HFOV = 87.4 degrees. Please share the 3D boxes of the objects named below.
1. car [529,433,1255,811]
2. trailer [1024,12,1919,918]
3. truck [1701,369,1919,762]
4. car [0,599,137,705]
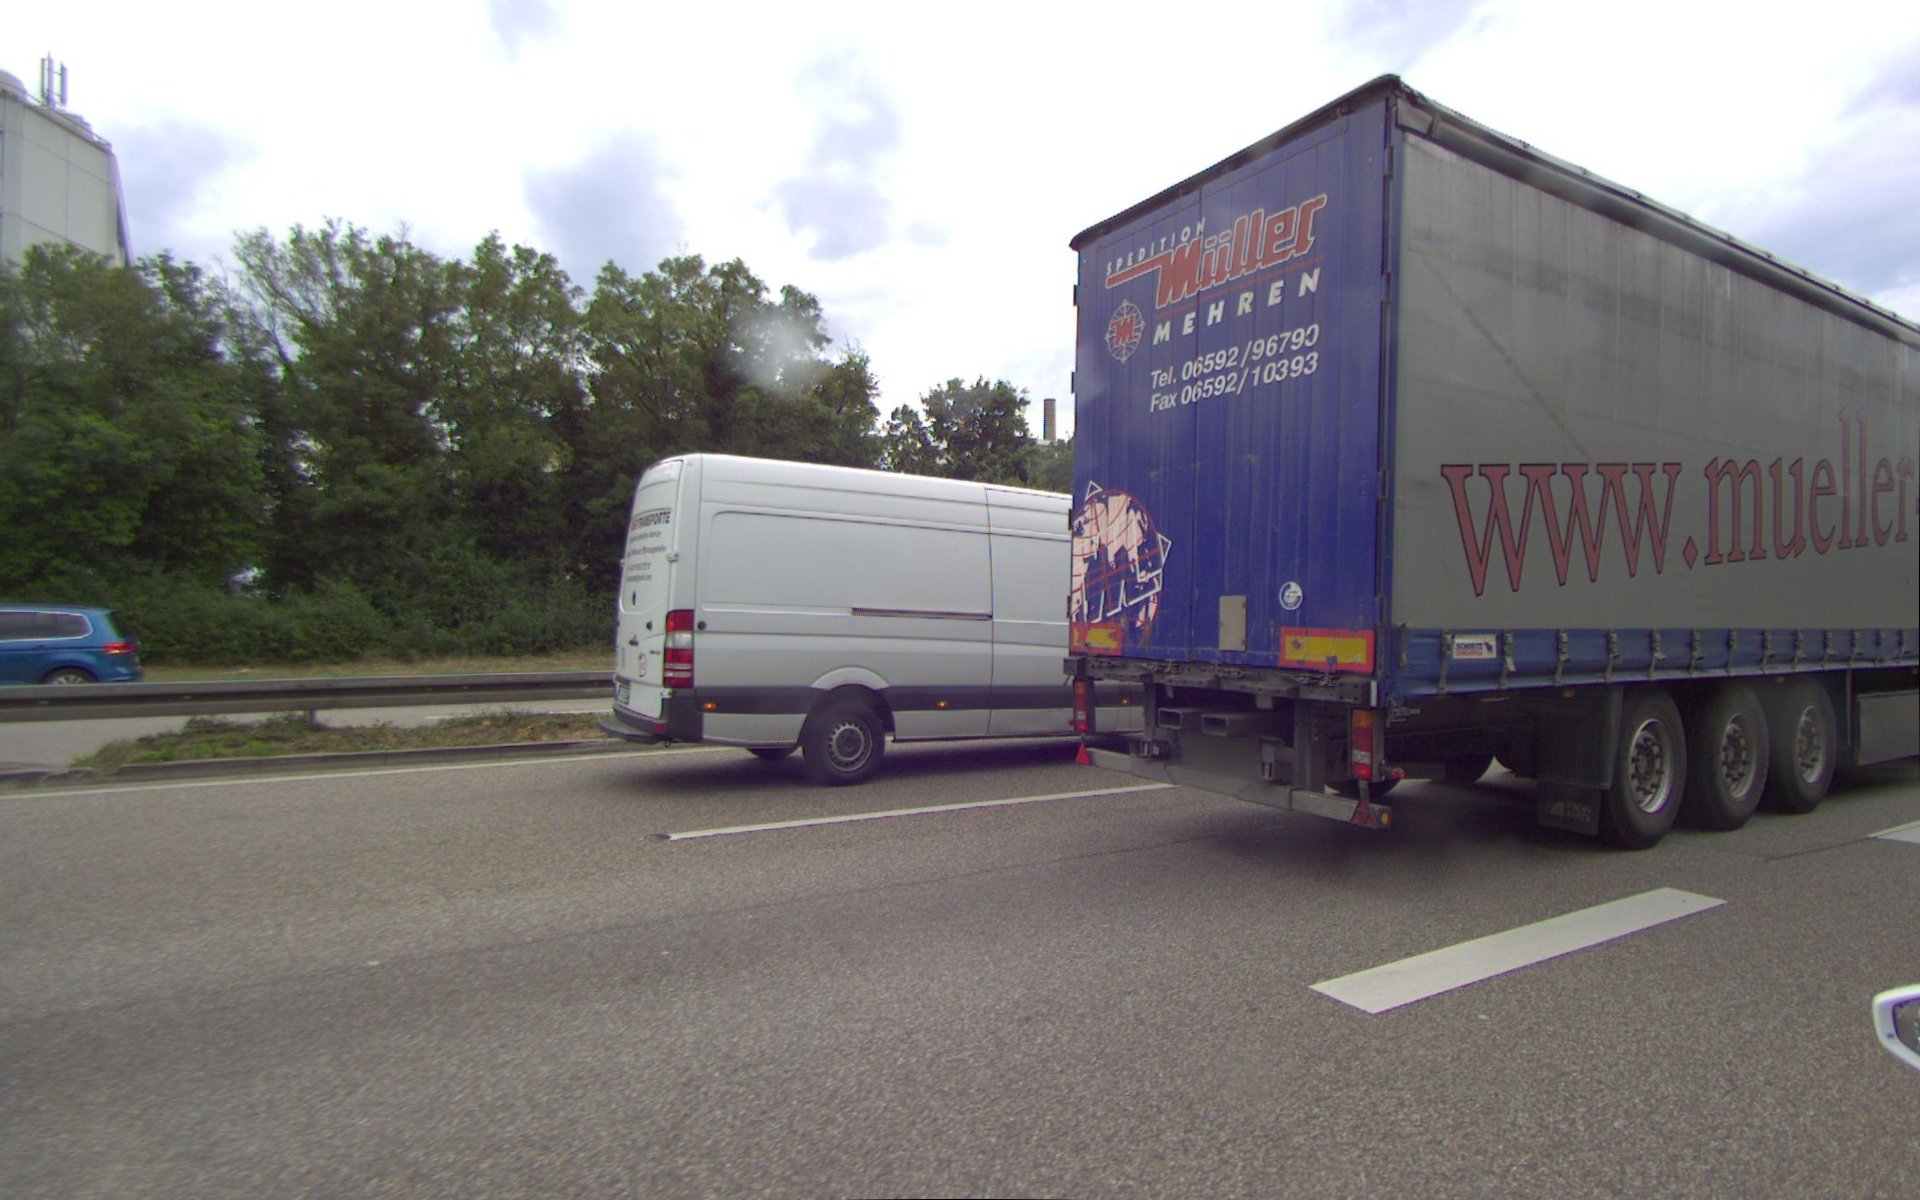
[{"bbox_3d":[-0.344,0.233,9.692,6.723,2.612,2.209,2,0,-32],"label":"car"},{"bbox_3d":[6.773,-0.434,9.226,13.317,4.076,2.612,2,0,-33],"label":"trailer"},{"bbox_3d":[12.391,-0.285,12.784,6.518,4.096,2.546,2,0,-33],"label":"truck"},{"bbox_3d":[-15.722,0.785,15.616,4.383,1.618,1.616,1,-1,-36],"label":"car"}]
